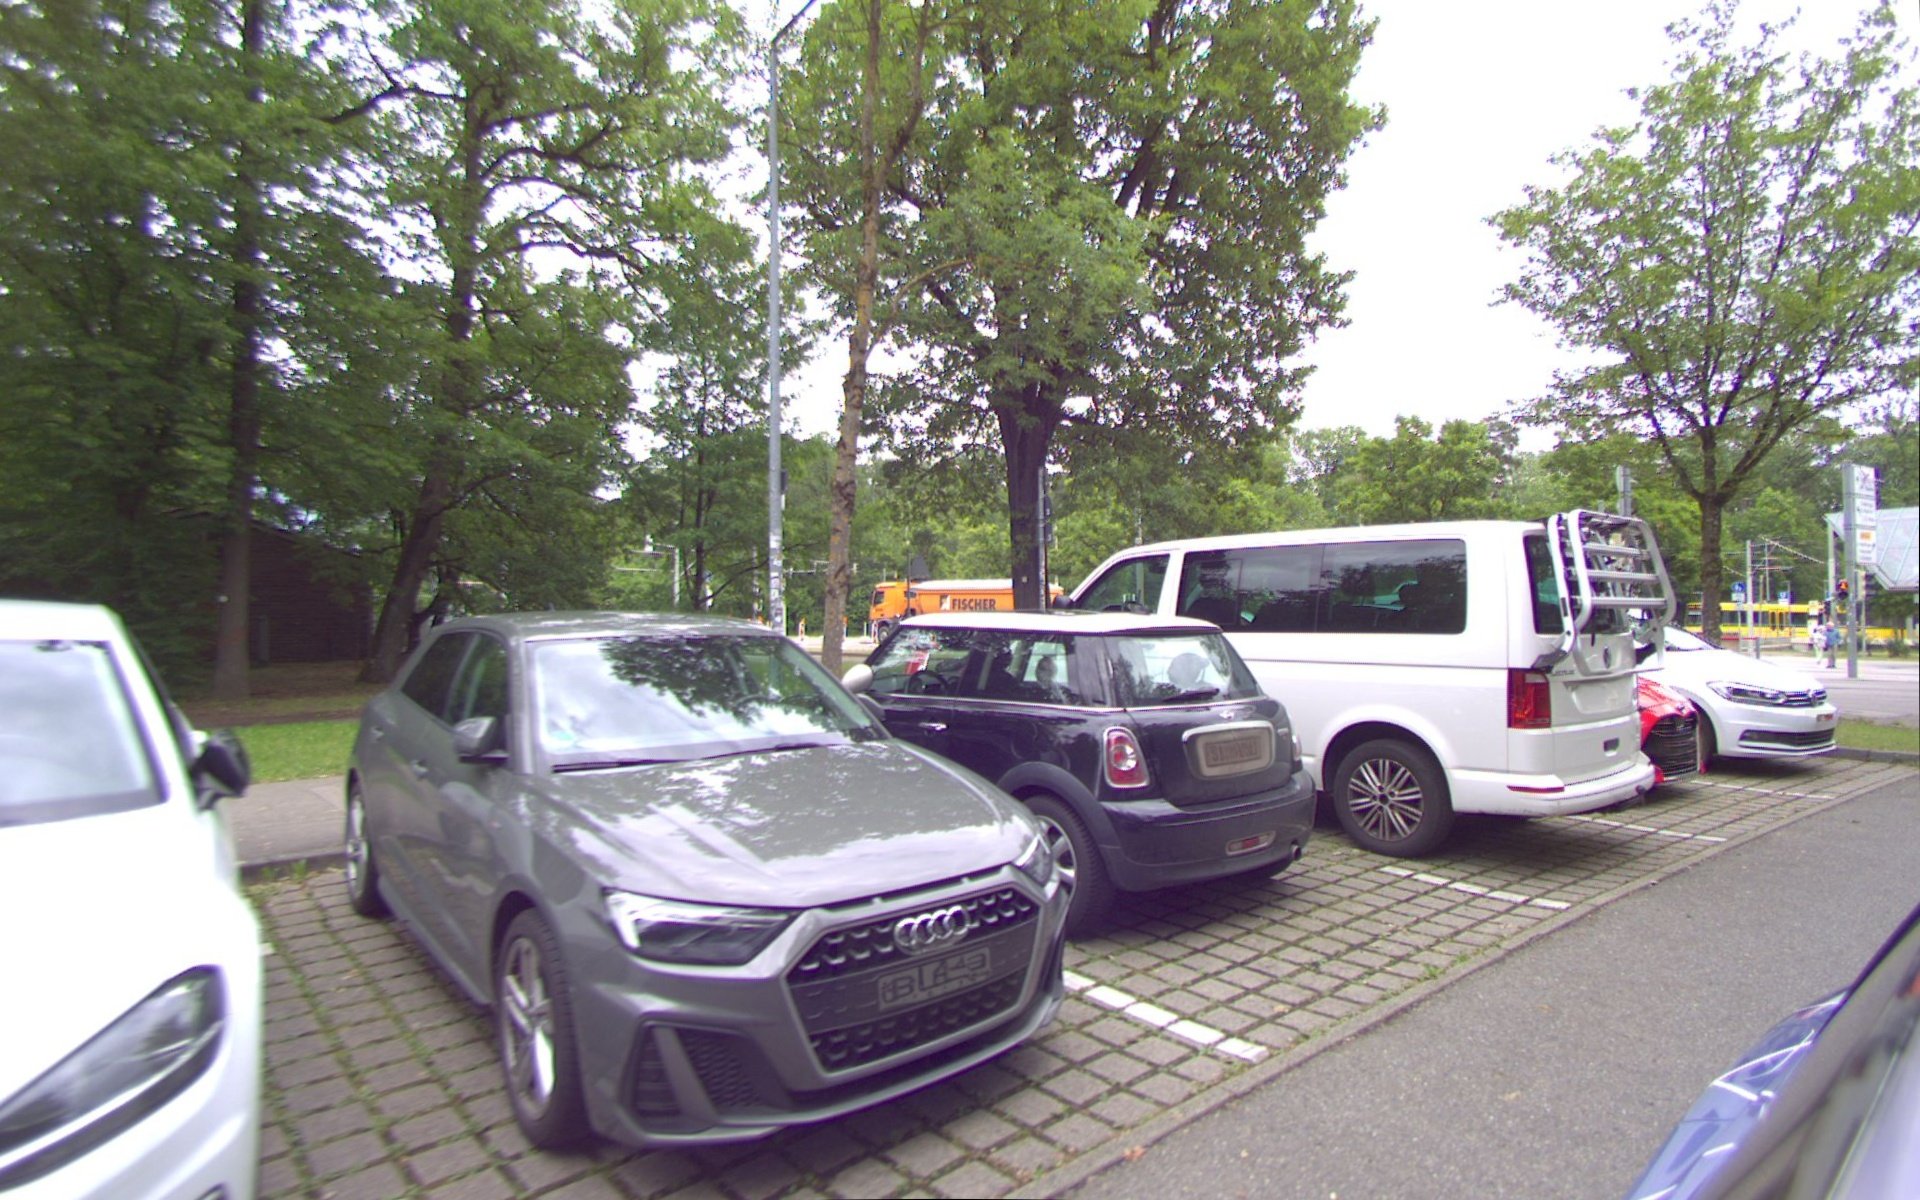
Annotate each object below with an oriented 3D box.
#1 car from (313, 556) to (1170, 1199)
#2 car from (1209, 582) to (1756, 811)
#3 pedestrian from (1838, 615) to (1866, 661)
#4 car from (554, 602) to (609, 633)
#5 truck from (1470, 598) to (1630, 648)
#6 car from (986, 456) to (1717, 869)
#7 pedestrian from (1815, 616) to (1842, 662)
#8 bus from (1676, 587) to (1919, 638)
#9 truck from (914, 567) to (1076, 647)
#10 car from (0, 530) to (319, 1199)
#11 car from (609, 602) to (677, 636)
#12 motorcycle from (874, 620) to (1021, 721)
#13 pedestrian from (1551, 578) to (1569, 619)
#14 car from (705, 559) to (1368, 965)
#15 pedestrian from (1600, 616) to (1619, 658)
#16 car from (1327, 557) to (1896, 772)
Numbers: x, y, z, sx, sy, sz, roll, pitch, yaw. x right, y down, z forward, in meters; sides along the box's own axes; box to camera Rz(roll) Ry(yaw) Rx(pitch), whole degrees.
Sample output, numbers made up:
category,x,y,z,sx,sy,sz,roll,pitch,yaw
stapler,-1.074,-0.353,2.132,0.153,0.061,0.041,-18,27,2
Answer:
category,x,y,z,sx,sy,sz,roll,pitch,yaw
car,-1.315,0.693,4.238,1.844,1.502,3.994,-1,-1,-40
car,4.425,0.718,9.212,1.908,1.575,4.011,1,-2,-32
pedestrian,34.889,1.493,39.579,0.733,1.781,0.659,-2,-4,39
car,-22.547,1.052,60.181,1.771,1.761,3.694,3,-4,-43
truck,29.385,1.174,50.576,6.426,2.383,2.403,0,-3,4
car,2.453,0.400,7.506,2.045,2.047,4.658,2,-3,-38
pedestrian,34.155,1.538,39.796,0.733,1.781,0.658,-2,-4,40
bus,64.917,1.024,78.124,18.192,3.529,3.984,1,-3,-10
truck,1.510,0.307,48.875,2.820,3.559,8.228,1,-1,-43
car,-3.222,0.637,2.904,1.819,1.494,4.783,1,0,-39
car,-17.089,1.060,54.511,1.966,1.739,3.990,3,-4,-43
motorcycle,-0.124,0.851,12.884,0.675,1.175,1.979,-1,-2,45
pedestrian,22.844,-0.046,38.528,0.474,1.536,0.519,-1,-3,22
car,0.178,0.708,5.975,1.813,1.575,3.729,3,-3,-40
pedestrian,24.243,1.376,37.784,0.474,1.536,0.519,-1,-3,22
car,6.442,0.499,10.584,2.123,1.714,4.537,0,0,-33
